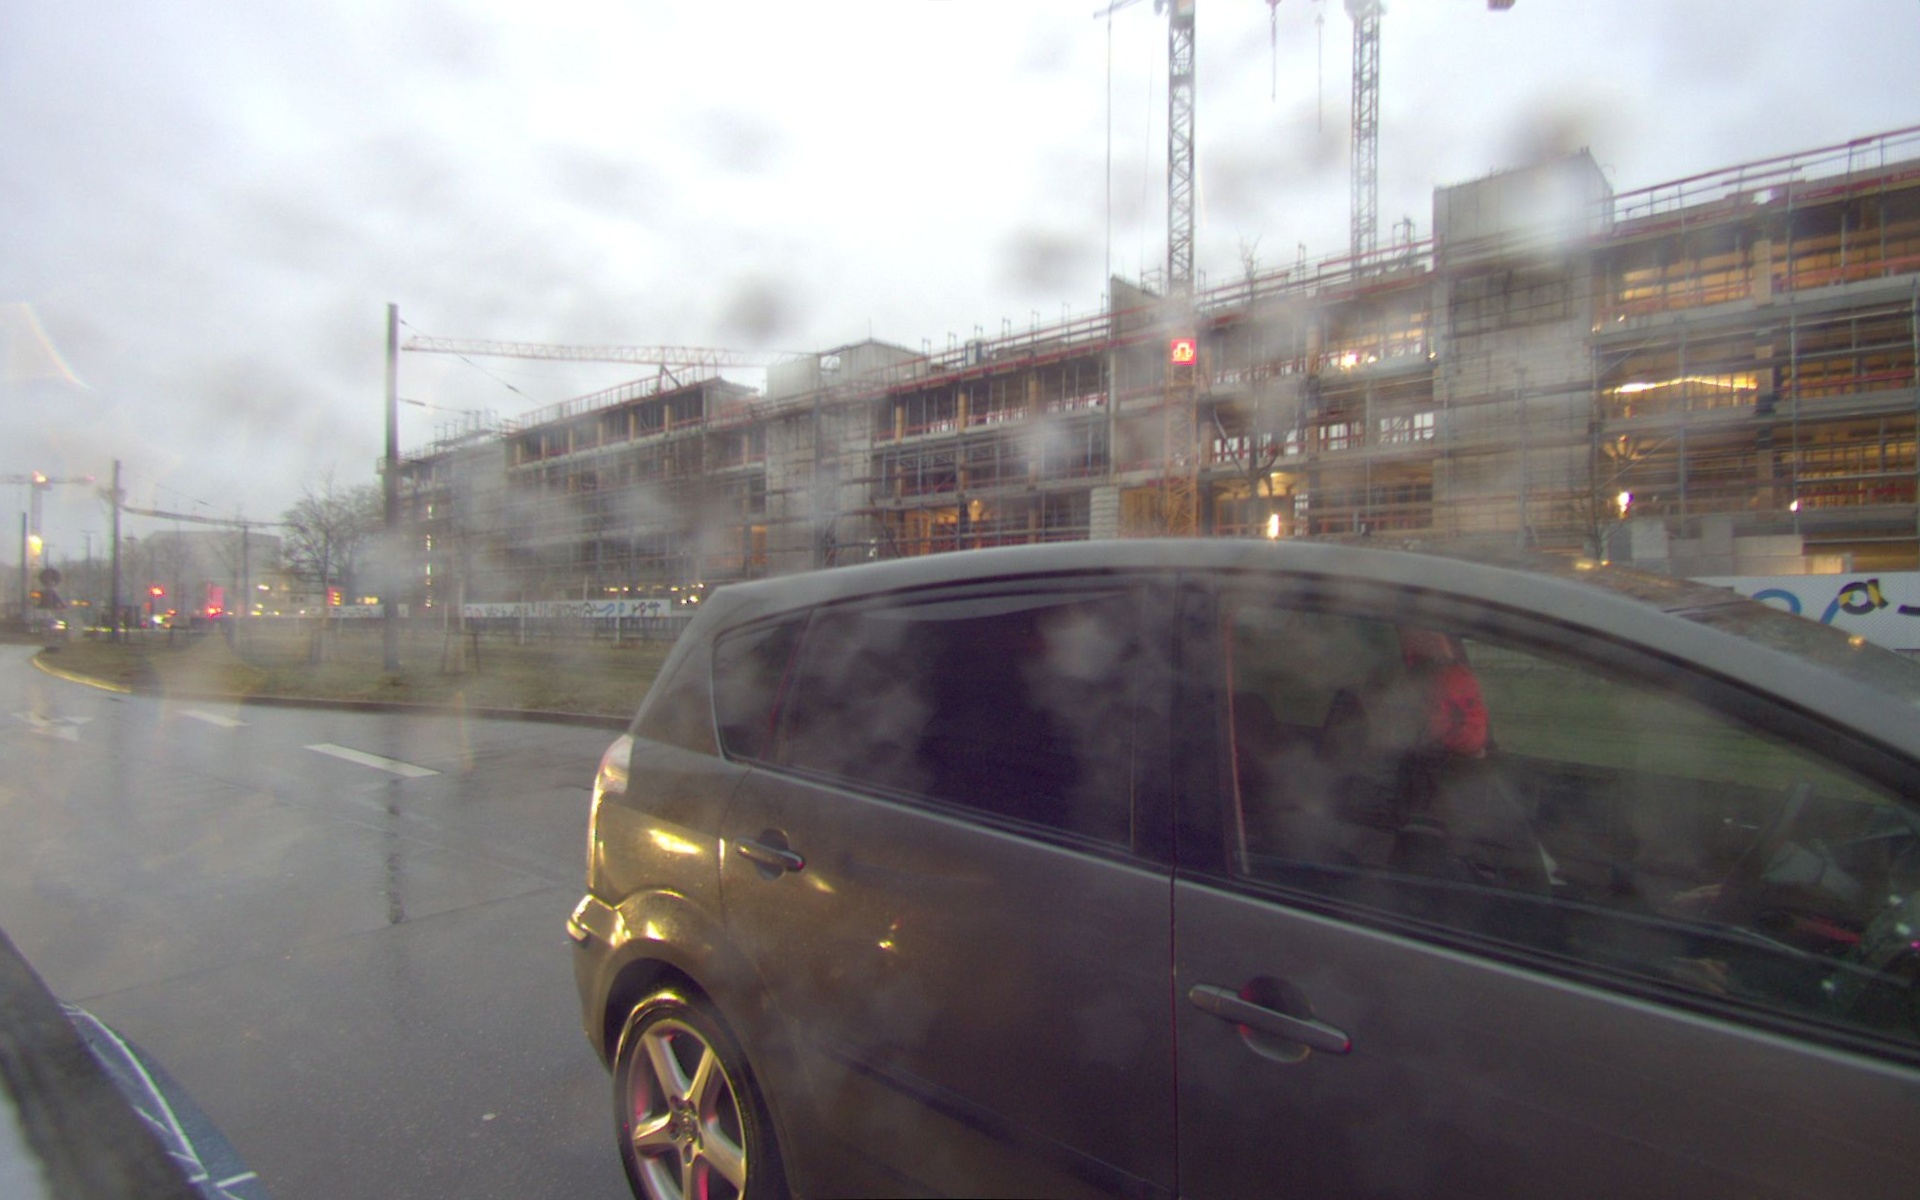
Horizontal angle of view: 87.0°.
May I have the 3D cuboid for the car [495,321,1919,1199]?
[{"bbox_3d":[1.010,0.598,1.882,4.131,1.659,1.793,-1,-1,39],"label":"car"}]
